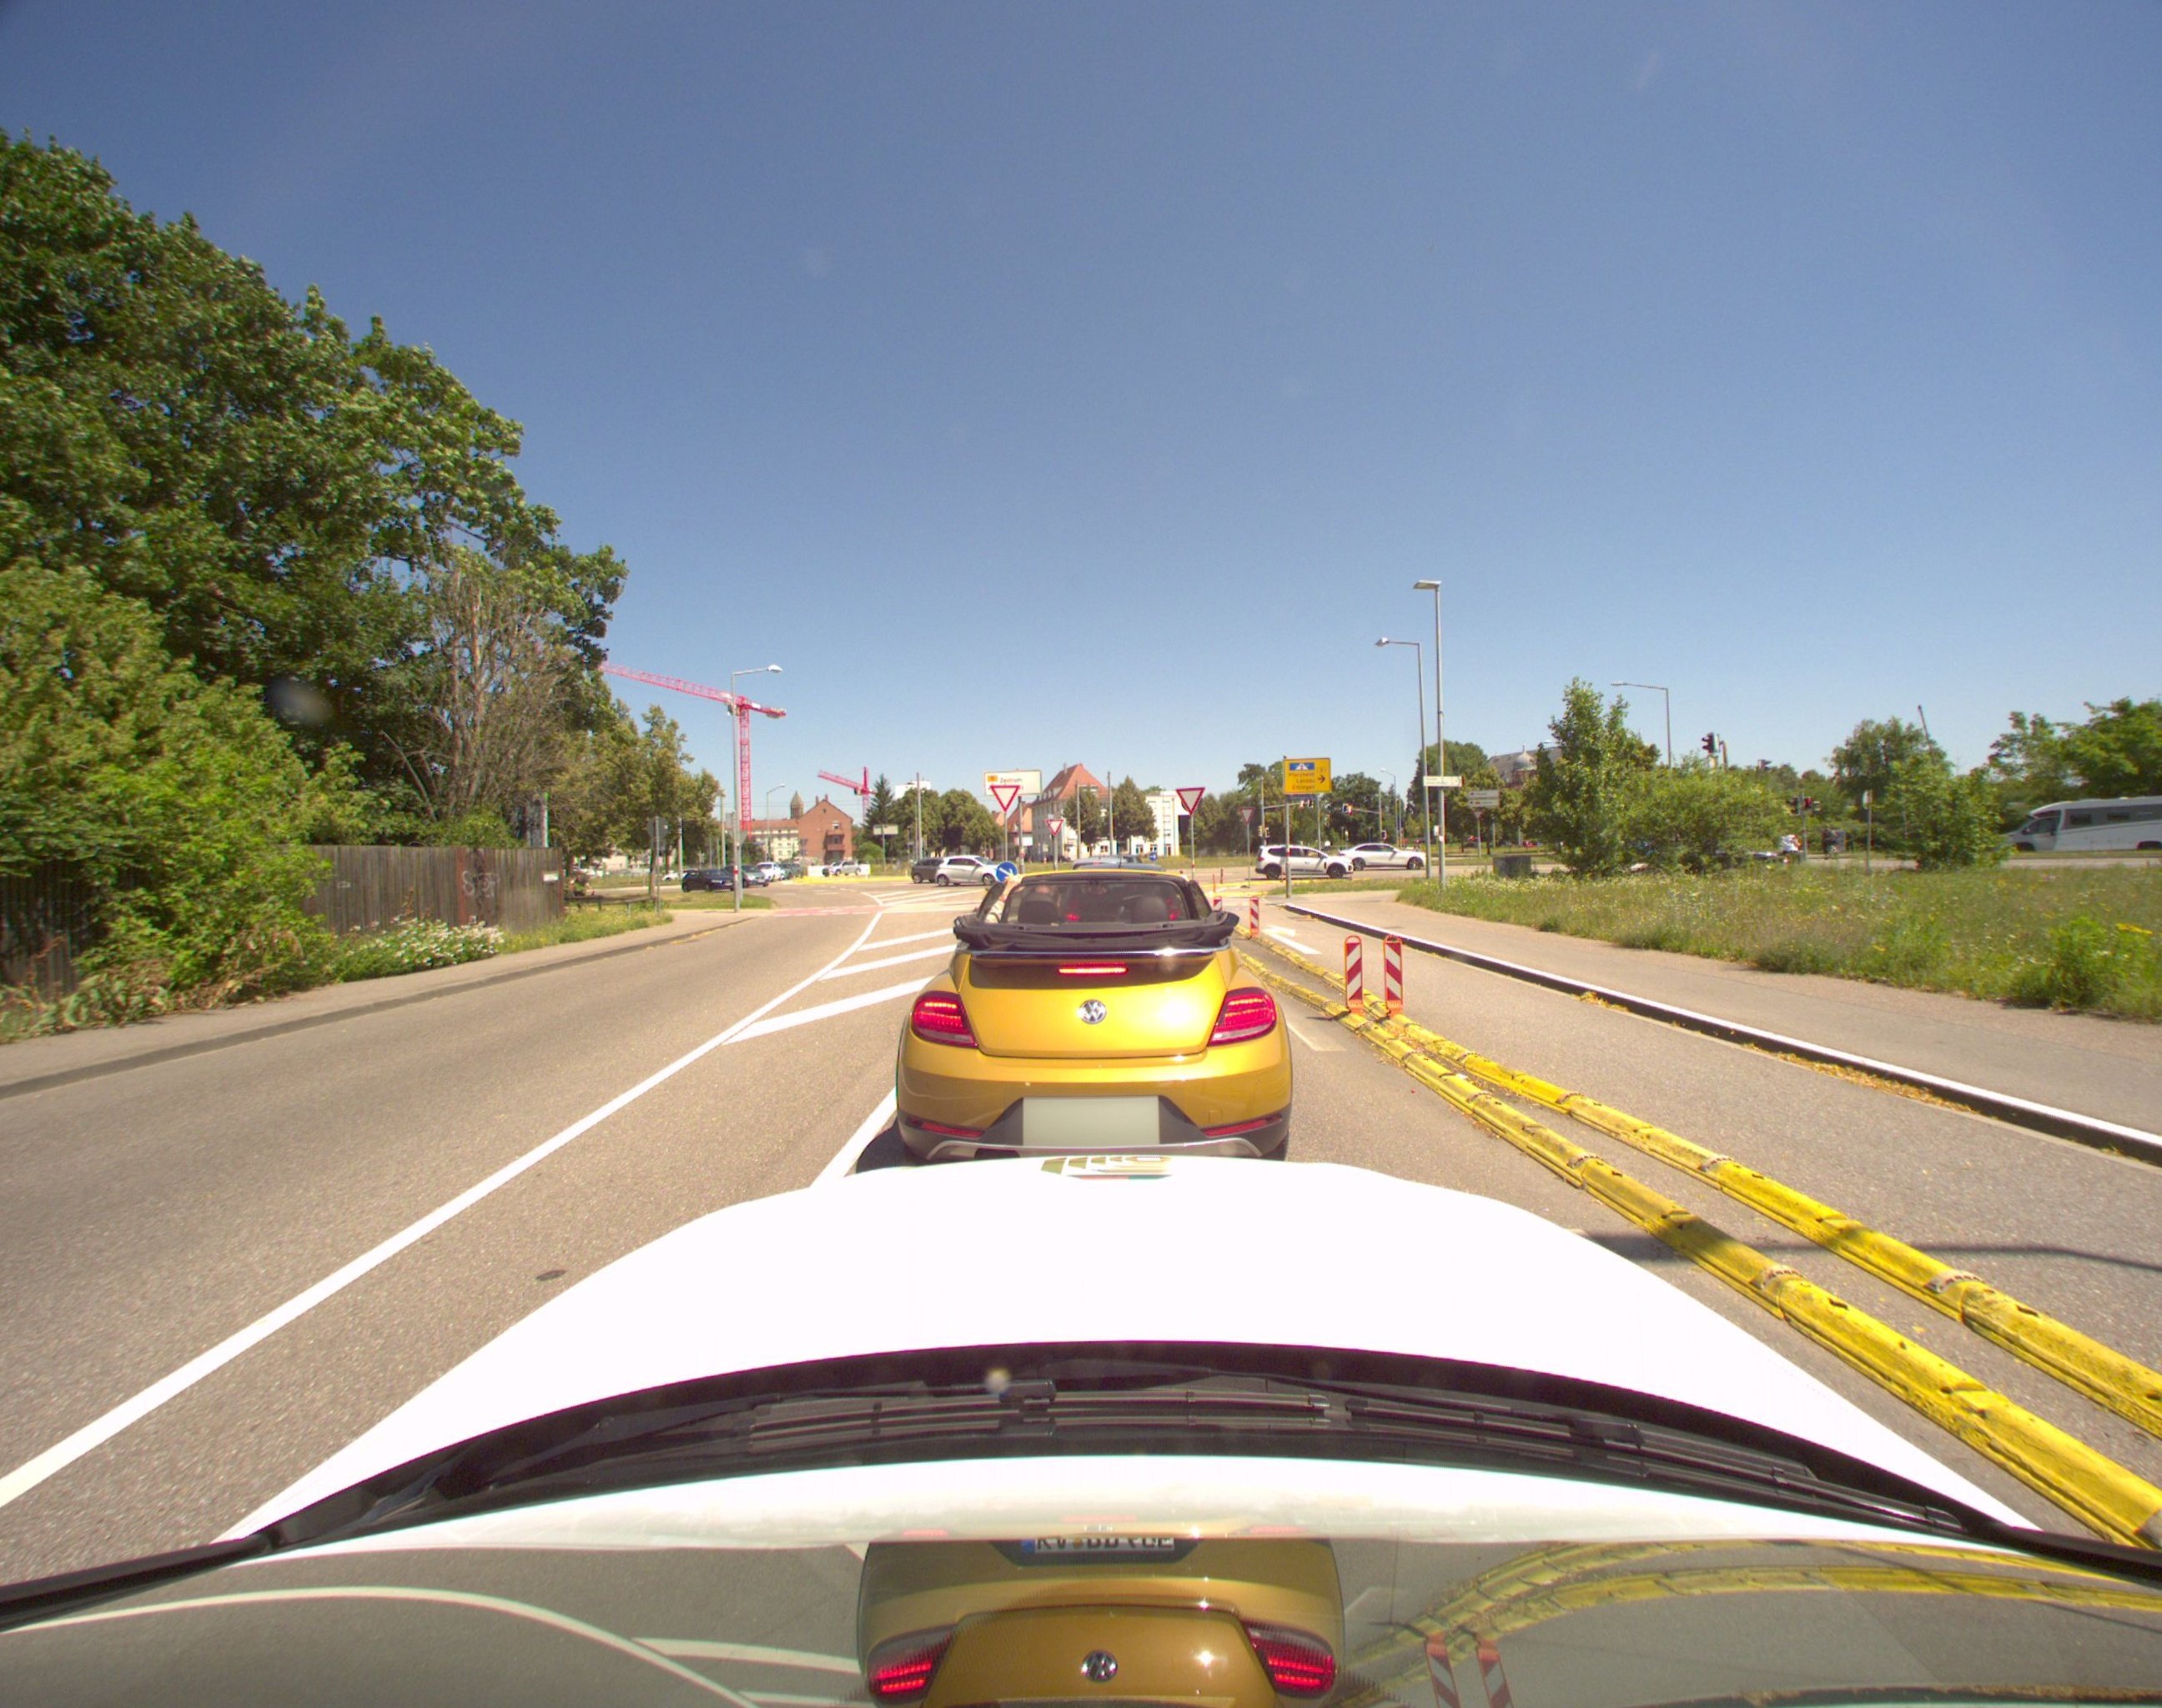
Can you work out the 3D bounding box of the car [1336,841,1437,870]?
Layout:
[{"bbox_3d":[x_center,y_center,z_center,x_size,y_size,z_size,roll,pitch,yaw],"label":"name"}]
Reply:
[{"bbox_3d":[16.882,0.092,45.244,4.959,1.509,2.006,-1,0,11],"label":"car"}]

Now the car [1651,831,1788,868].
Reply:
[{"bbox_3d":[26.468,-0.174,33.951,4.165,1.442,2.012,-1,0,27],"label":"car"}]

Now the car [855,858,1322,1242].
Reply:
[{"bbox_3d":[0.079,0.755,4.980,1.746,1.422,3.778,-1,0,1],"label":"car"}]

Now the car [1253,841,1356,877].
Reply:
[{"bbox_3d":[10.528,0.230,38.487,4.540,1.566,2.008,-1,0,16],"label":"car"}]

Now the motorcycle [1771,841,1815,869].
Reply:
[{"bbox_3d":[25.805,0.035,29.504,1.712,0.970,0.625,-1,0,-28],"label":"motorcycle"}]

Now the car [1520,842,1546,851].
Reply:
[{"bbox_3d":[84.814,-1.435,152.845,3.996,1.714,1.989,-1,0,-17],"label":"car"}]

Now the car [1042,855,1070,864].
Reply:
[{"bbox_3d":[-3.605,0.811,115.806,3.738,1.236,1.723,-1,0,39],"label":"car"}]

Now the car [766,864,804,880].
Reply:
[{"bbox_3d":[-25.133,1.528,69.342,1.700,1.236,3.788,-1,0,2],"label":"car"}]

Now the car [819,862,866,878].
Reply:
[{"bbox_3d":[-23.121,1.549,78.981,1.690,1.500,4.247,-1,0,34],"label":"car"}]

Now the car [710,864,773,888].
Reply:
[{"bbox_3d":[-22.813,1.473,54.701,3.949,1.496,1.812,-1,0,30],"label":"car"}]

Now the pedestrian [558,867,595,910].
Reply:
[{"bbox_3d":[-19.035,1.295,30.748,0.866,1.563,0.815,-1,-1,24],"label":"pedestrian"}]

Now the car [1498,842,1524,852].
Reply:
[{"bbox_3d":[79.444,-1.347,150.534,3.993,1.714,1.990,-1,0,-15],"label":"car"}]

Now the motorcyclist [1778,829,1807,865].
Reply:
[{"bbox_3d":[25.825,-0.253,29.550,0.616,1.289,0.576,-1,-1,-27],"label":"motorcyclist"}]

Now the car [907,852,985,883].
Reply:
[{"bbox_3d":[-7.773,0.768,46.921,3.956,1.496,1.654,-5,-1,16],"label":"car"}]

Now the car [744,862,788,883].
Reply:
[{"bbox_3d":[-24.659,1.418,63.846,1.749,1.549,4.002,-1,0,2],"label":"car"}]

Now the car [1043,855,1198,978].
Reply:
[{"bbox_3d":[0.540,0.757,11.788,1.841,1.442,4.002,-1,0,2],"label":"car"}]

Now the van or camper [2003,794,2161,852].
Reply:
[{"bbox_3d":[51.791,-1.538,40.701,2.528,2.693,7.420,-1,0,-44],"label":"van or camper"}]

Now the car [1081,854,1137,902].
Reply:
[{"bbox_3d":[0.941,0.756,27.605,1.730,1.477,4.002,-1,0,2],"label":"car"}]

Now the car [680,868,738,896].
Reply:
[{"bbox_3d":[-22.542,1.664,49.323,3.961,1.620,1.747,-1,0,42],"label":"car"}]

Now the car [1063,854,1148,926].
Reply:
[{"bbox_3d":[0.582,0.748,18.805,1.730,1.442,4.002,-1,0,2],"label":"car"}]

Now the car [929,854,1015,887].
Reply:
[{"bbox_3d":[-5.595,0.822,41.940,3.973,1.620,1.686,-1,0,11],"label":"car"}]

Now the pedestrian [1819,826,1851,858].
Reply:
[{"bbox_3d":[37.756,-0.609,40.785,0.789,1.563,0.823,-1,0,3],"label":"pedestrian"}]

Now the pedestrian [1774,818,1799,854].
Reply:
[{"bbox_3d":[36.676,-0.924,42.341,0.647,1.870,0.737,-1,0,3],"label":"pedestrian"}]
